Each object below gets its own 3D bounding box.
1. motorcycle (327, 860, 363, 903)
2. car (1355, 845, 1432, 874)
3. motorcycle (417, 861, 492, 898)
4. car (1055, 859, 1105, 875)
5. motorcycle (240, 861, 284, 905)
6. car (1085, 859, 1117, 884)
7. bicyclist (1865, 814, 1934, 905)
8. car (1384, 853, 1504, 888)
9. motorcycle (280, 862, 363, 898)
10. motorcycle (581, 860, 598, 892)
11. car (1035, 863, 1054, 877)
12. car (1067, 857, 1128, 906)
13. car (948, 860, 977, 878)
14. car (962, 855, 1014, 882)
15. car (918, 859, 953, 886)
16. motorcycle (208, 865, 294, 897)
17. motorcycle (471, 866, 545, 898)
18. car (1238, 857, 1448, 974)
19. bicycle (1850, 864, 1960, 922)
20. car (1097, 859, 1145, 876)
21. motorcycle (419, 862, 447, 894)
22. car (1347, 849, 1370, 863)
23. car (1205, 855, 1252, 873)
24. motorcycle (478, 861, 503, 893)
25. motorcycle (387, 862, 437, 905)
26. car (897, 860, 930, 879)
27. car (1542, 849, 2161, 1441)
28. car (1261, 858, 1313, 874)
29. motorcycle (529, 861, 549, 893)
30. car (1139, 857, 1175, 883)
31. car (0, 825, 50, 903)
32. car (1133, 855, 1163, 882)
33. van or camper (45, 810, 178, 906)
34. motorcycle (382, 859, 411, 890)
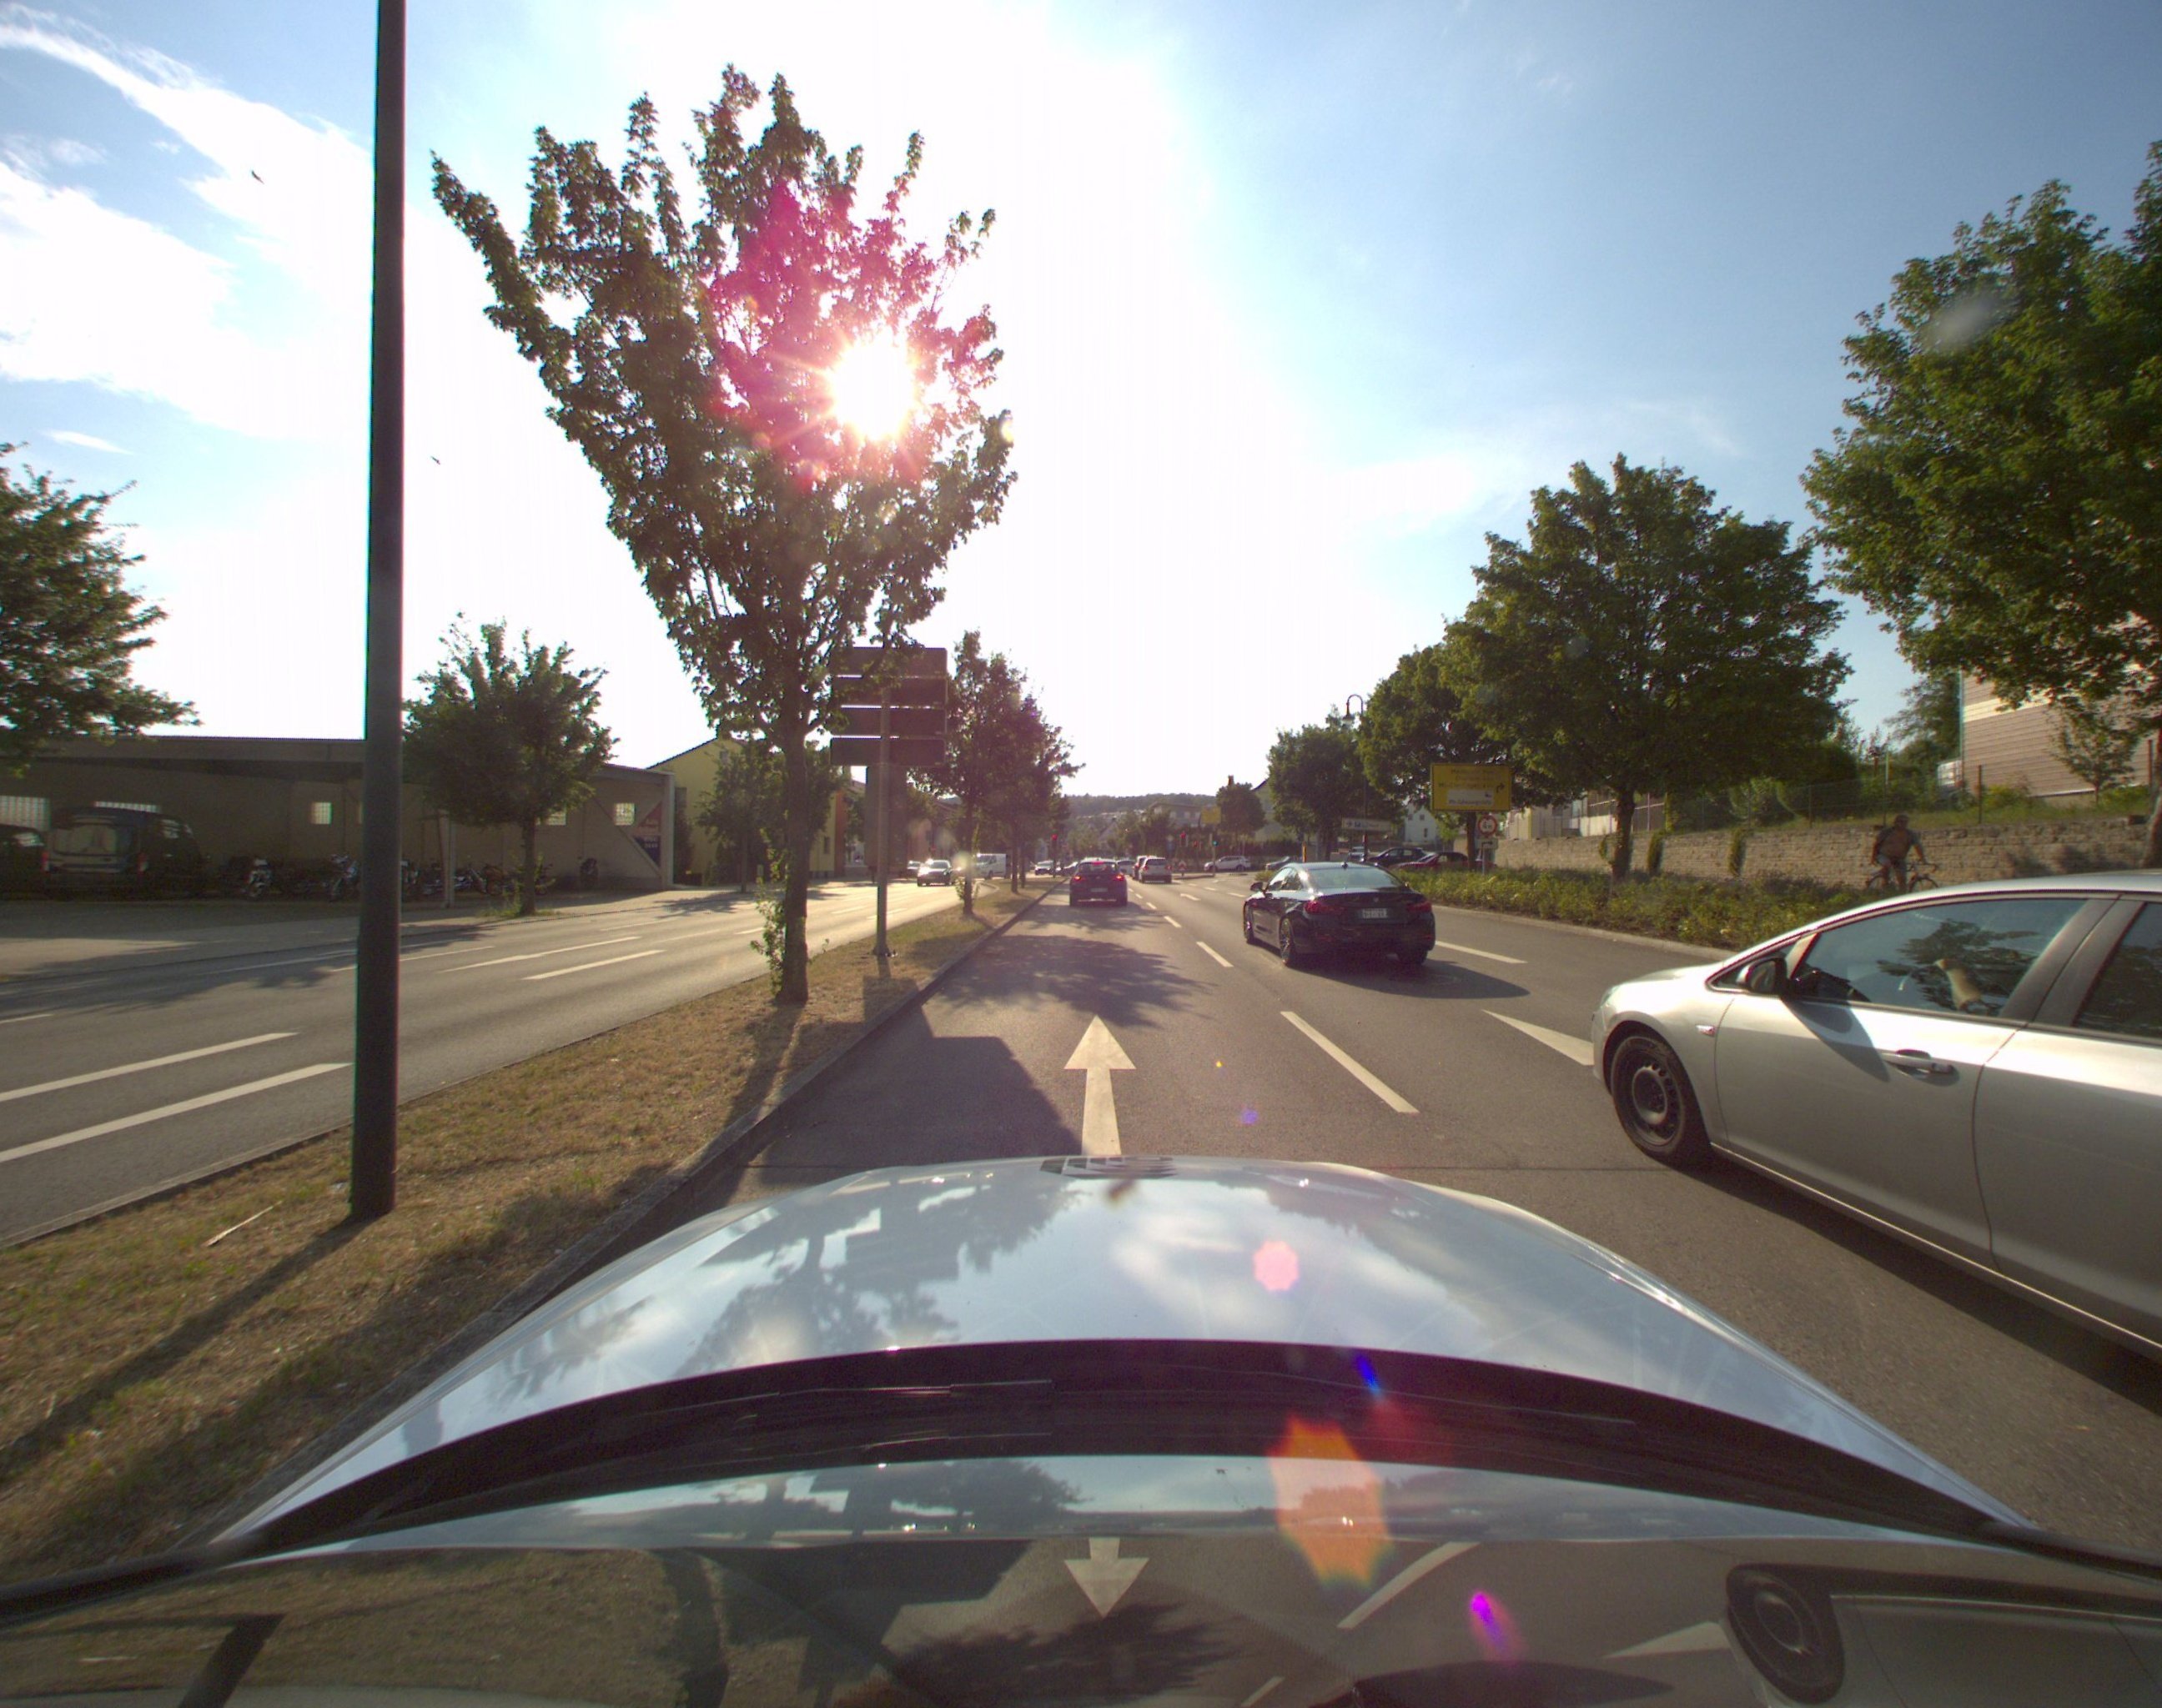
[{"bbox_3d":[-23.359,0.858,25.865,0.652,1.311,1.985,0,-1,-37],"label":"motorcycle"},{"bbox_3d":[18.222,0.317,47.597,3.960,1.608,1.860,-1,-1,12],"label":"car"},{"bbox_3d":[-23.245,0.924,30.256,0.556,1.330,2.167,-1,-1,30],"label":"motorcycle"},{"bbox_3d":[-0.125,1.252,78.874,4.694,1.462,1.687,-1,0,-9],"label":"car"},{"bbox_3d":[-25.313,0.867,25.195,0.652,1.311,1.985,0,-1,-37],"label":"motorcycle"},{"bbox_3d":[1.211,1.026,49.055,1.809,1.451,4.243,-1,-1,2],"label":"car"},{"bbox_3d":[15.469,0.104,15.401,0.598,1.678,0.737,-1,-1,13],"label":"bicyclist"},{"bbox_3d":[13.909,0.640,31.427,3.960,1.272,1.860,-1,-1,12],"label":"car"},{"bbox_3d":[-28.267,0.948,30.368,0.638,1.258,2.167,-1,-1,30],"label":"motorcycle"},{"bbox_3d":[-20.935,0.931,34.688,0.565,1.307,2.096,0,-1,-29],"label":"motorcycle"},{"bbox_3d":[-4.010,1.730,89.563,1.759,1.458,4.002,0,-1,2],"label":"car"},{"bbox_3d":[0.544,0.831,26.194,1.784,1.414,4.348,-1,-1,2],"label":"car"},{"bbox_3d":[-10.230,1.236,70.443,1.801,1.497,4.245,0,-1,1],"label":"car"},{"bbox_3d":[-7.001,1.061,61.892,1.807,1.923,4.969,-1,-1,20],"label":"car"},{"bbox_3d":[-8.365,1.049,47.125,1.768,1.451,4.097,-1,-1,-7],"label":"car"},{"bbox_3d":[-30.877,0.990,30.347,0.556,1.123,2.167,-1,-1,30],"label":"motorcycle"},{"bbox_3d":[-21.093,1.025,30.024,0.623,1.124,2.167,-1,-1,30],"label":"motorcycle"},{"bbox_3d":[3.572,0.762,11.977,1.809,1.389,4.348,-1,-1,2],"label":"car"},{"bbox_3d":[15.492,0.706,15.372,0.517,1.018,1.882,-1,-1,13],"label":"bicycle"},{"bbox_3d":[3.565,1.195,73.104,3.952,1.497,1.796,0,-1,-18],"label":"car"},{"bbox_3d":[-27.179,0.999,34.176,0.585,1.307,2.070,0,-1,-29],"label":"motorcycle"},{"bbox_3d":[30.619,0.188,89.739,1.844,1.486,4.686,-1,-1,26],"label":"car"},{"bbox_3d":[14.898,0.980,82.356,4.485,1.702,1.900,-2,-1,7],"label":"car"},{"bbox_3d":[-25.386,0.966,35.035,0.625,1.307,2.070,0,-1,-29],"label":"motorcycle"},{"bbox_3d":[-21.270,0.906,25.931,0.670,1.311,1.992,0,-1,-23],"label":"motorcycle"},{"bbox_3d":[-14.833,1.322,72.142,1.835,1.552,4.003,2,0,3],"label":"car"},{"bbox_3d":[3.519,0.705,2.683,1.737,1.442,4.168,-1,-1,2],"label":"car"},{"bbox_3d":[19.258,1.126,76.190,4.463,1.349,1.781,0,3,-10],"label":"car"},{"bbox_3d":[-23.044,0.946,34.645,0.565,1.307,2.070,0,-1,-29],"label":"motorcycle"},{"bbox_3d":[4.422,0.911,47.783,1.809,1.446,4.348,-1,-1,2],"label":"car"},{"bbox_3d":[-33.207,0.318,24.296,2.213,2.249,4.334,0,-1,-41],"label":"car"},{"bbox_3d":[4.444,0.948,54.670,1.809,1.666,4.348,-1,-1,2],"label":"car"},{"bbox_3d":[-29.746,0.130,25.157,2.011,2.680,4.977,0,-1,-43],"label":"van or camper"},{"bbox_3d":[-29.434,0.876,35.055,0.565,1.307,2.070,0,-1,-29],"label":"motorcycle"}]
